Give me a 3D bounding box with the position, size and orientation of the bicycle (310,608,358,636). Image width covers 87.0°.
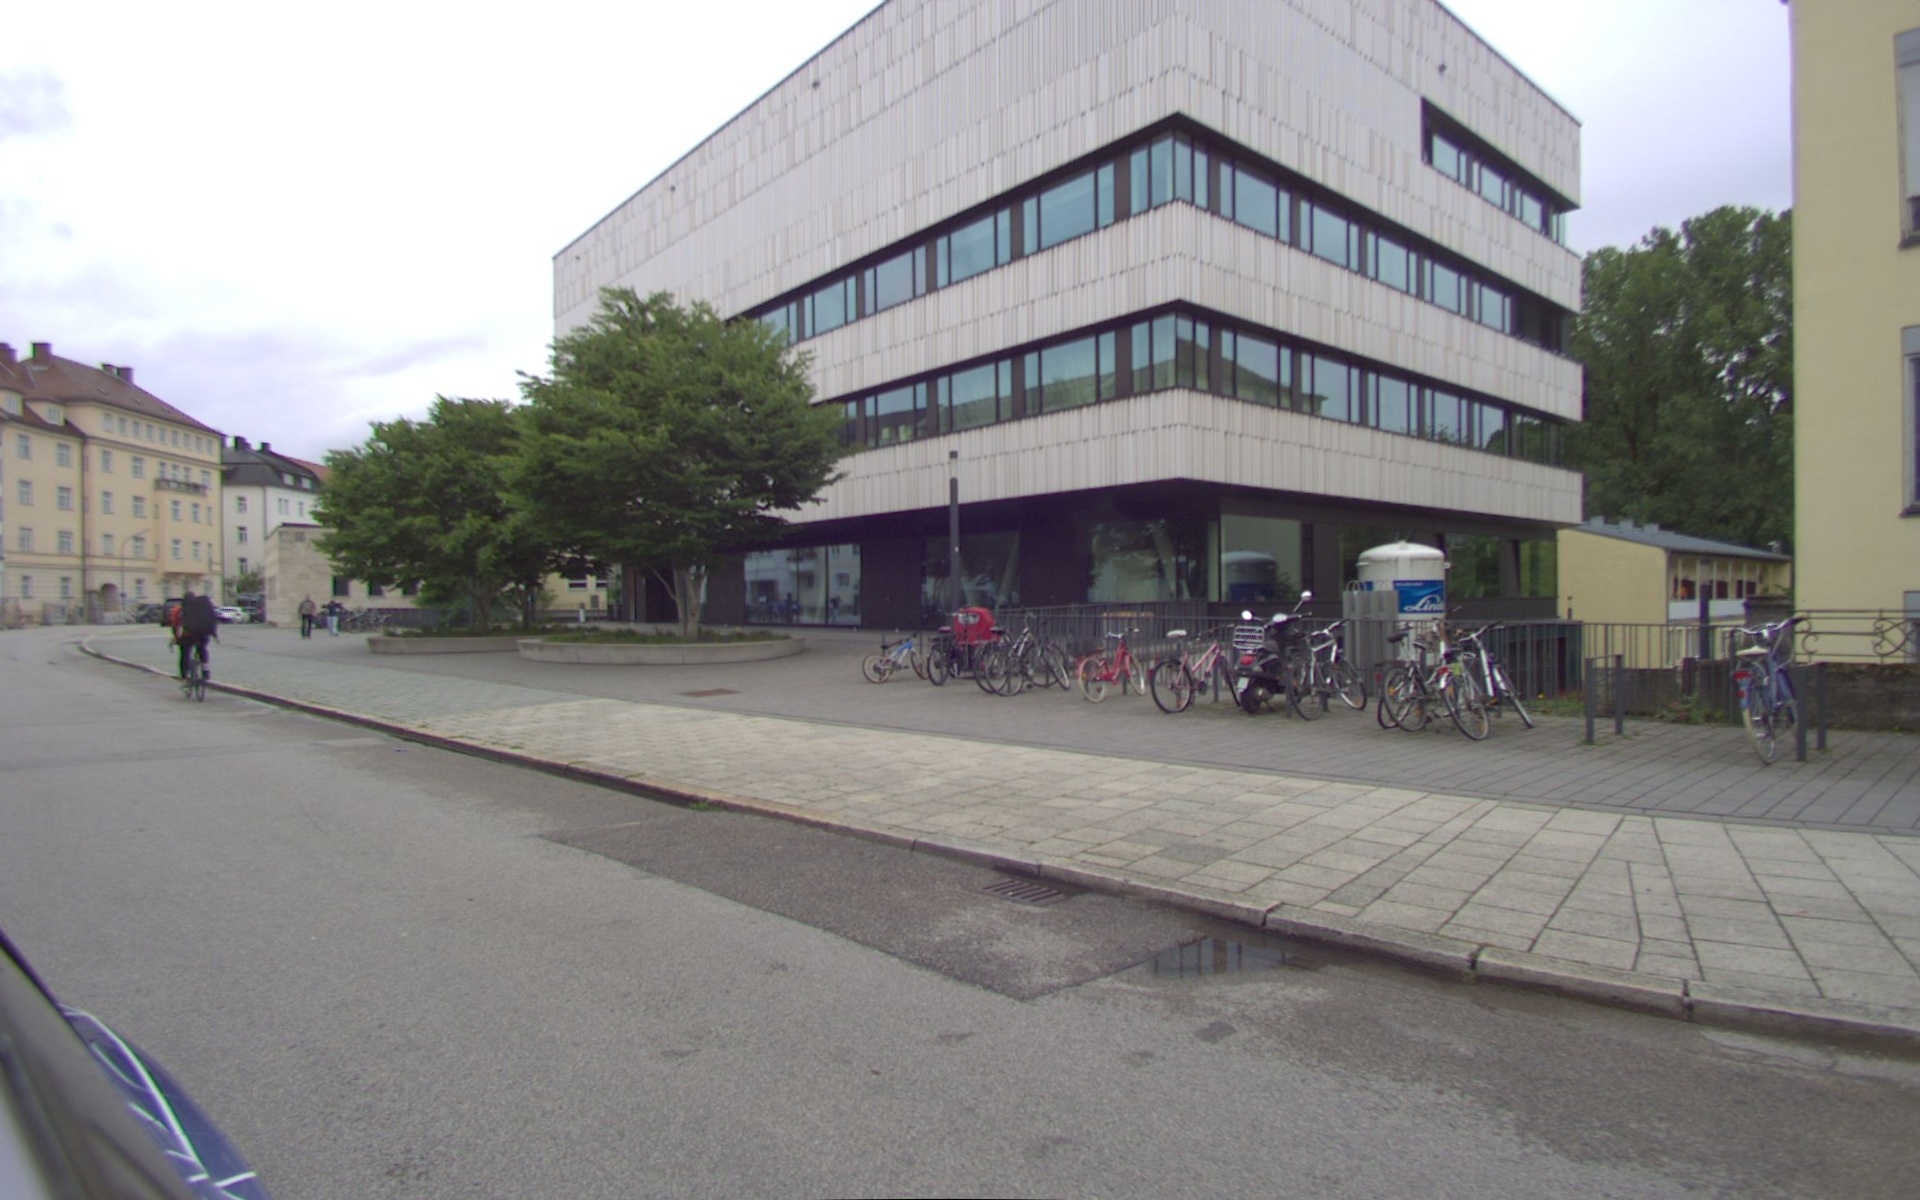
[{"bbox_3d":[-34.178,1.200,55.267,2.073,1.362,0.614,-3,1,-42],"label":"bicycle"}]

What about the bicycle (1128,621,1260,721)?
[{"bbox_3d":[2.870,0.824,12.314,1.767,1.040,0.508,-3,1,-37],"label":"bicycle"}]

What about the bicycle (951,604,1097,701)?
[{"bbox_3d":[0.961,0.727,14.800,2.077,1.237,0.788,-3,1,-37],"label":"bicycle"}]

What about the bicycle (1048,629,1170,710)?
[{"bbox_3d":[2.012,0.899,13.566,1.653,0.923,0.596,-3,1,-37],"label":"bicycle"}]

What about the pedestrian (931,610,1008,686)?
[{"bbox_3d":[0.149,0.780,16.733,0.709,1.171,1.041,-3,1,-42],"label":"pedestrian"}]

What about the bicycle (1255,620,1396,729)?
[{"bbox_3d":[4.139,0.795,11.388,1.842,1.037,0.541,-3,1,-37],"label":"bicycle"}]

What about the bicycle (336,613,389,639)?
[{"bbox_3d":[-28.346,1.211,48.032,2.022,1.119,0.617,-3,1,-45],"label":"bicycle"}]

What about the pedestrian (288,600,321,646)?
[{"bbox_3d":[-26.464,0.900,40.860,1.013,1.795,0.779,0,2,38],"label":"pedestrian"}]

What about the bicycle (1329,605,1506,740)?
[{"bbox_3d":[4.685,0.678,10.265,2.280,1.143,0.583,-3,1,-37],"label":"bicycle"}]

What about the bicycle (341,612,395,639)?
[{"bbox_3d":[-27.299,1.186,46.706,2.022,1.119,0.617,-3,1,-45],"label":"bicycle"}]

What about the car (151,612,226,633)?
[{"bbox_3d":[-55.958,1.633,73.484,1.743,1.383,3.965,1,-1,30],"label":"car"}]

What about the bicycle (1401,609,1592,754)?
[{"bbox_3d":[5.282,0.728,9.867,2.454,1.149,0.638,-3,1,-37],"label":"bicycle"}]

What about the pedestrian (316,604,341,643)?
[{"bbox_3d":[-26.935,1.011,43.176,0.602,1.613,0.639,-3,0,24],"label":"pedestrian"}]

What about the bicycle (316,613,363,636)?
[{"bbox_3d":[-33.040,1.301,53.928,2.021,1.119,0.617,-3,1,-42],"label":"bicycle"}]

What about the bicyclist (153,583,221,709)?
[{"bbox_3d":[-12.910,0.765,16.910,0.757,2.029,0.769,4,-4,-42],"label":"bicyclist"}]

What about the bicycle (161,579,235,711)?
[{"bbox_3d":[-12.786,0.736,16.944,0.739,2.029,2.851,2,-3,-41],"label":"bicycle"}]

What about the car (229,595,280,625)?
[{"bbox_3d":[-61.786,0.885,88.735,2.113,2.593,6.231,0,-1,-20],"label":"car"}]

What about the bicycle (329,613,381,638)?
[{"bbox_3d":[-29.303,1.233,49.040,2.022,1.119,0.617,-3,1,-45],"label":"bicycle"}]

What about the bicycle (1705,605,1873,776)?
[{"bbox_3d":[6.671,0.660,8.105,1.931,1.140,0.574,-3,1,-37],"label":"bicycle"}]

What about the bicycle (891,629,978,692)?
[{"bbox_3d":[-0.384,0.927,15.860,1.355,0.868,0.440,-3,1,-41],"label":"bicycle"}]

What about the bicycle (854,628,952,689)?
[{"bbox_3d":[-0.936,0.960,16.911,1.698,0.868,0.440,-3,1,-41],"label":"bicycle"}]

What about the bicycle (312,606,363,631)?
[{"bbox_3d":[-30.646,0.922,49.820,0.616,1.119,2.024,-2,1,41],"label":"bicycle"}]

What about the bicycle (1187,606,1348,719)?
[{"bbox_3d":[3.729,0.697,12.113,2.520,1.215,0.425,-1,-1,-37],"label":"bicycle"}]

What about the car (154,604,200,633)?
[{"bbox_3d":[-51.189,1.199,66.229,1.966,1.785,4.828,-1,-1,-33],"label":"car"}]
